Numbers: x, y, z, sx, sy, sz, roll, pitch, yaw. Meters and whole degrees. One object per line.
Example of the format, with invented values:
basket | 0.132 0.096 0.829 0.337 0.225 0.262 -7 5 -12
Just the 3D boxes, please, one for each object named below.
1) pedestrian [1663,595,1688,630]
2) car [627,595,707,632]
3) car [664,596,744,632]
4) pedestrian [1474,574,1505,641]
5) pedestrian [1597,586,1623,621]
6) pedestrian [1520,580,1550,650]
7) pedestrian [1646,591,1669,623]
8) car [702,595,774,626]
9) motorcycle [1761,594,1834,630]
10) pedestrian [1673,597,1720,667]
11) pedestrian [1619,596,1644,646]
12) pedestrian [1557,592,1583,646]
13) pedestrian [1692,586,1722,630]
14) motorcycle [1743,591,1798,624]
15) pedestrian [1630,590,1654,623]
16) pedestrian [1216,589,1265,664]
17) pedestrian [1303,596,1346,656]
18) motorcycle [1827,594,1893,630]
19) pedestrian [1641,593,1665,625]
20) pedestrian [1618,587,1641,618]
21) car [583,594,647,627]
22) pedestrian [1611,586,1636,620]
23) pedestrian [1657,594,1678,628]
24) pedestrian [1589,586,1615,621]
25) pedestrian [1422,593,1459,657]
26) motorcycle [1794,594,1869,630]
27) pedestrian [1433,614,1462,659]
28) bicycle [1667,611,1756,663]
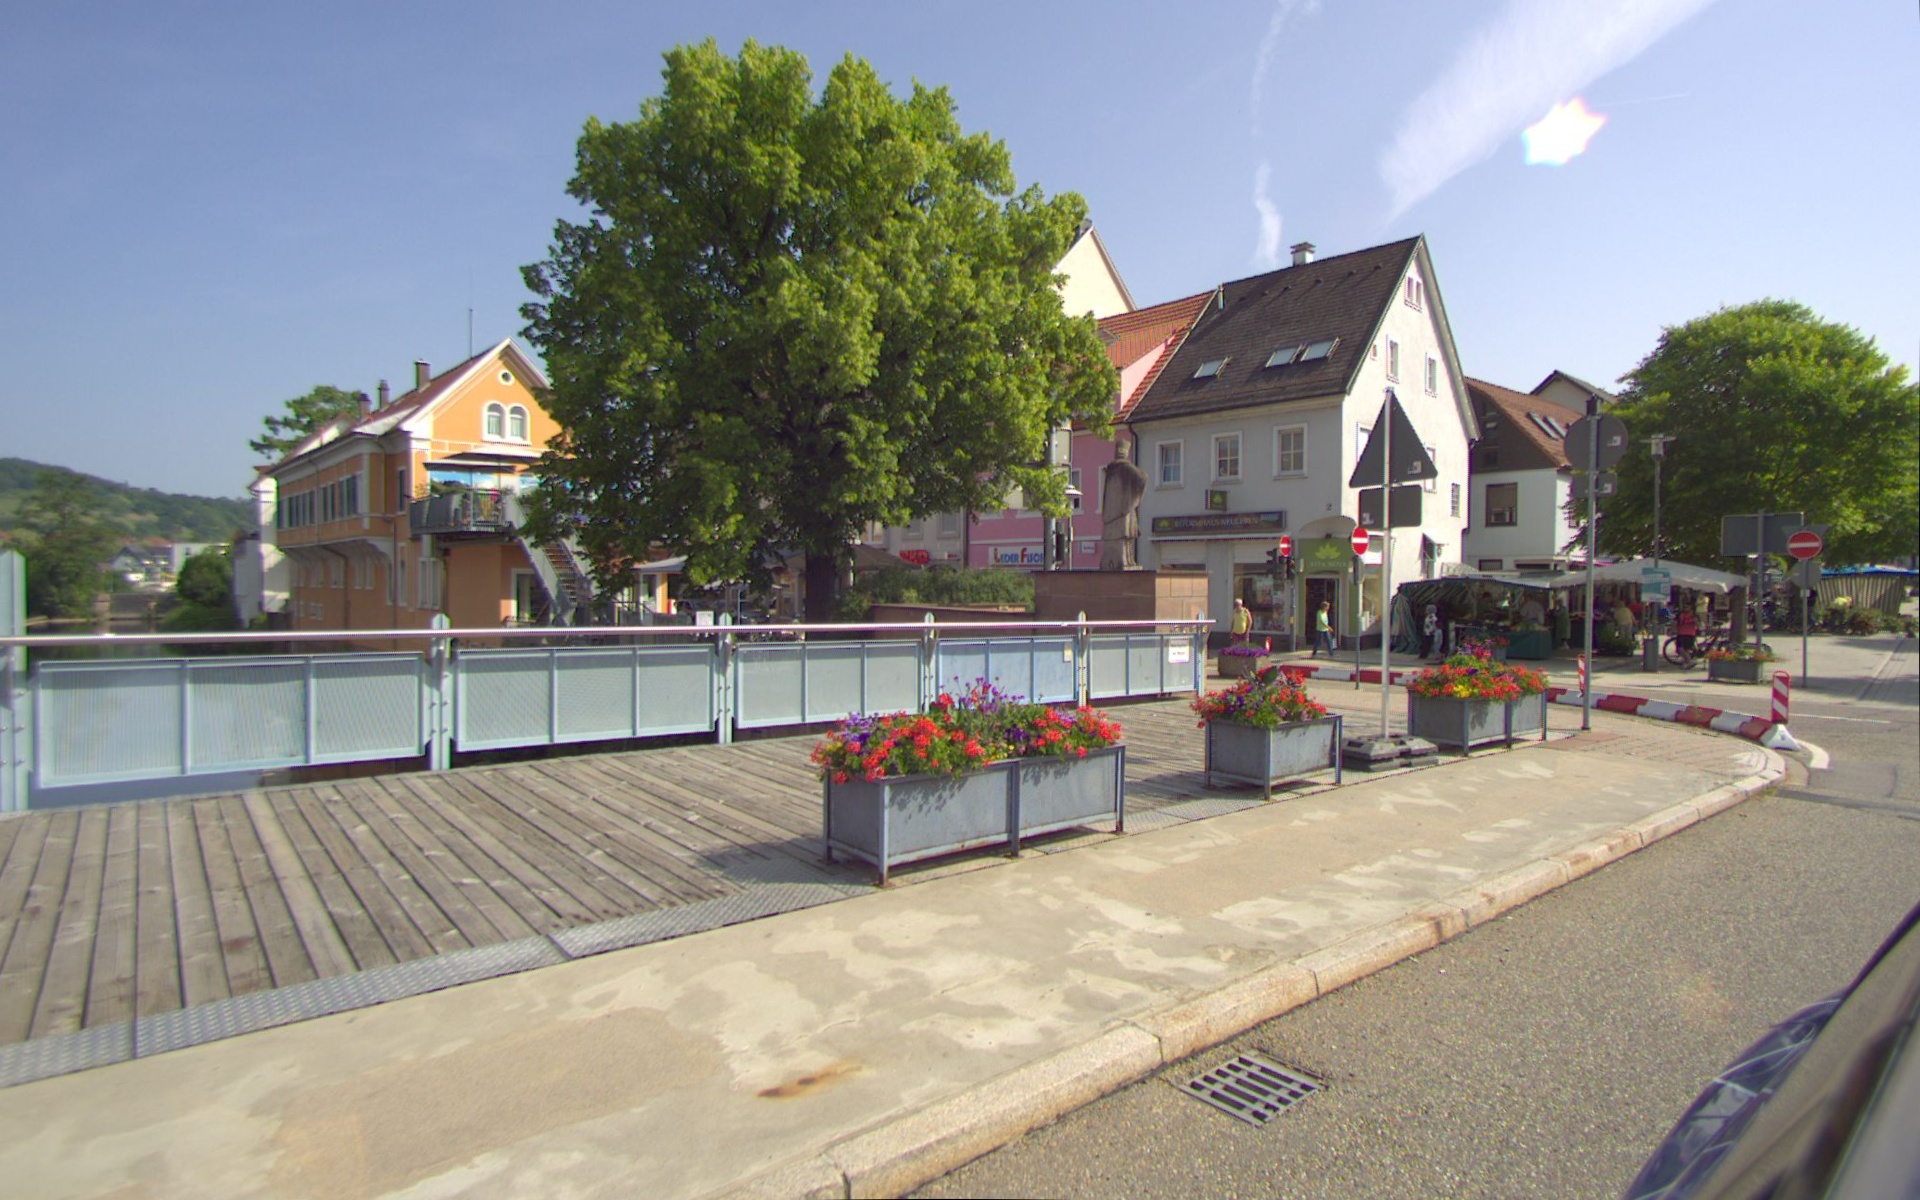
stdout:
pedestrian | 26.280 0.459 37.154 0.695 1.215 0.565 3 3 36
car | -13.690 0.597 47.175 1.722 1.617 4.584 -1 1 -43
car | -12.560 0.655 49.504 1.795 1.585 4.489 -3 2 -43
pedestrian | 15.977 0.210 30.551 0.697 1.995 0.506 1 0 15
pedestrian | 26.136 0.145 40.700 0.686 1.347 0.626 -1 4 -38
pedestrian | 16.718 0.421 29.421 0.701 2.010 0.646 1 0 28
pedestrian | 28.286 0.280 41.038 0.639 1.215 0.572 -1 4 -40
car | -11.695 0.527 53.037 1.778 1.488 4.447 -1 1 -41
motorcycle | 31.685 0.435 38.317 0.630 1.210 2.010 0 4 -27
pedestrian | 18.651 0.798 25.637 0.879 1.678 0.564 3 4 39
pedestrian | 21.003 0.656 31.657 0.618 1.537 0.625 1 0 37
pedestrian | 18.956 0.578 31.460 0.520 1.647 0.696 1 1 45
pedestrian | 27.480 0.296 37.226 0.561 1.572 0.700 -1 3 -35
motorcycle | 31.838 0.283 39.756 0.632 1.210 1.531 0 4 -41
pedestrian | 26.513 0.252 39.361 0.639 1.215 0.572 -1 4 -40
pedestrian | 7.403 0.687 26.690 0.902 1.836 1.009 -1 5 35
pedestrian | 10.442 0.721 29.007 0.775 1.652 0.858 -3 2 -40
motorcycle | 33.780 0.425 38.023 0.631 1.210 2.006 2 3 1
pedestrian | 27.225 0.338 39.775 0.639 1.215 0.572 -1 4 -40
pedestrian | 27.660 0.105 41.822 0.639 1.215 0.572 -1 4 -40
car | -17.513 0.498 51.257 1.655 1.578 4.097 -1 1 -40
pedestrian | 26.994 0.108 41.178 0.686 1.347 0.626 -1 4 -38
pedestrian | 26.693 0.411 38.198 0.569 1.215 0.642 3 4 39
pedestrian | 25.449 0.136 40.103 0.686 1.347 0.626 -1 4 -38
pedestrian | 13.308 0.677 28.037 0.777 1.745 0.704 1 0 16
motorcycle | 32.666 0.424 37.960 0.630 1.210 2.010 0 3 -27
pedestrian | 13.198 0.977 27.404 0.614 1.175 0.513 1 0 18
bicycle | 19.623 0.946 26.467 1.851 1.250 0.609 1 1 37
